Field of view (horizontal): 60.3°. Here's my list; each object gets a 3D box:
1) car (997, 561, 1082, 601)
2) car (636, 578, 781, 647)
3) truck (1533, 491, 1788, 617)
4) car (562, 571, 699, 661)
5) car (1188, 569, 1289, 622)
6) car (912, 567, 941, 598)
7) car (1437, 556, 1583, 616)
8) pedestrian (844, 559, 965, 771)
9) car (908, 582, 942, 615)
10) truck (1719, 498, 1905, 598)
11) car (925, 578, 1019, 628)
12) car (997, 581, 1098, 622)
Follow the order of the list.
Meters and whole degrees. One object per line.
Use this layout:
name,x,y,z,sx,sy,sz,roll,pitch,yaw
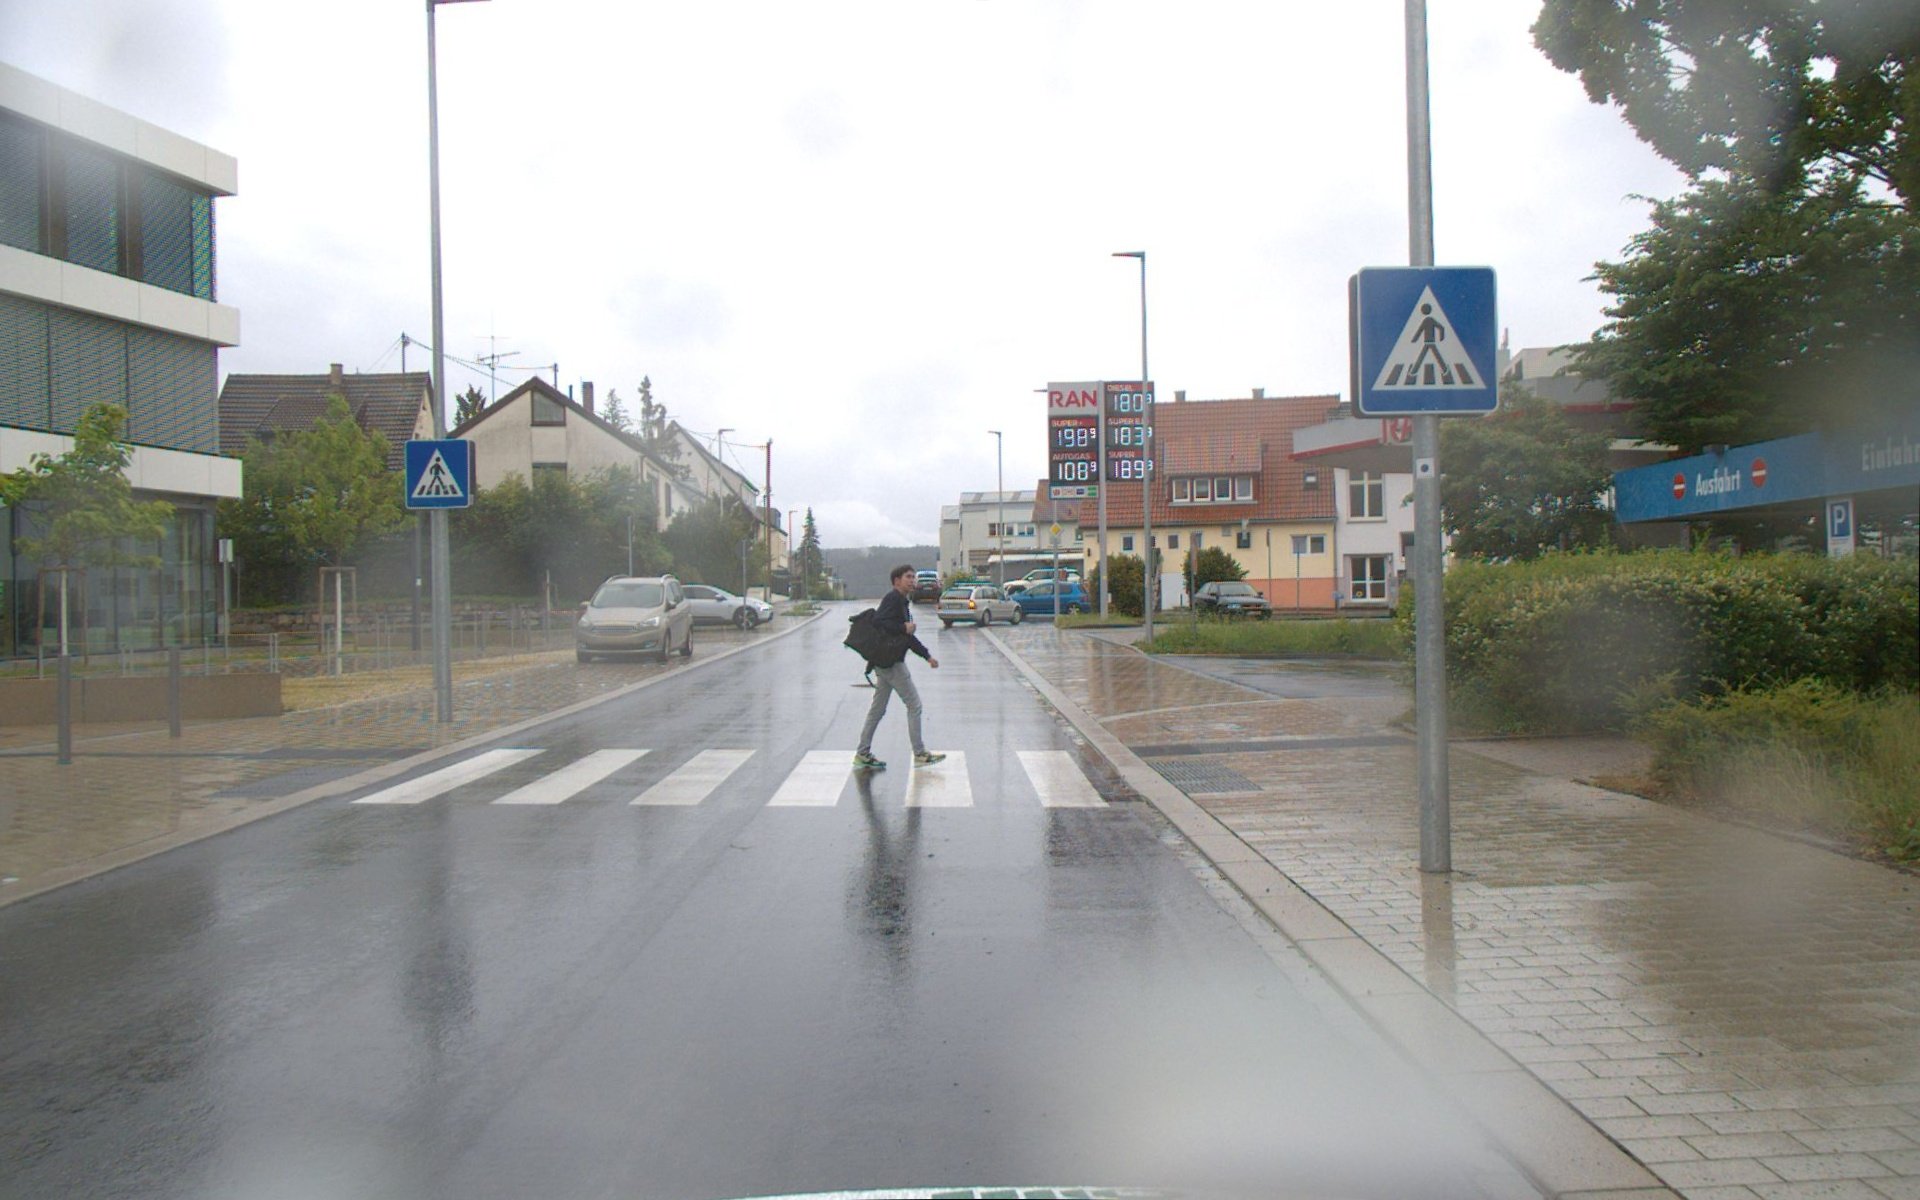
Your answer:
car,3.962,-0.943,83.258,4.031,1.736,1.787,3,-2,-4
car,-8.459,0.441,55.831,4.664,2.049,1.996,3,-2,-8
truck,22.631,-1.387,53.451,7.596,3.504,2.668,3,-2,-17
car,-6.542,0.273,33.288,1.953,1.657,4.152,-1,1,-1
car,9.285,-0.124,55.387,1.959,1.579,3.987,3,-2,-12
car,-2.119,-1.092,105.647,1.747,1.736,3.998,3,-2,-1
car,15.348,-0.359,46.199,3.465,1.583,1.942,1,-1,-21
pedestrian,-0.482,0.534,14.143,0.993,1.754,0.772,0,0,-4
car,-2.077,-0.066,98.889,1.953,1.736,3.998,3,-2,-1
truck,19.938,-1.154,38.908,1.956,2.049,3.994,3,-2,-7
car,0.481,0.118,60.149,1.909,1.583,3.997,2,-2,24
car,3.727,0.072,70.425,3.903,1.519,1.859,2,-2,17
